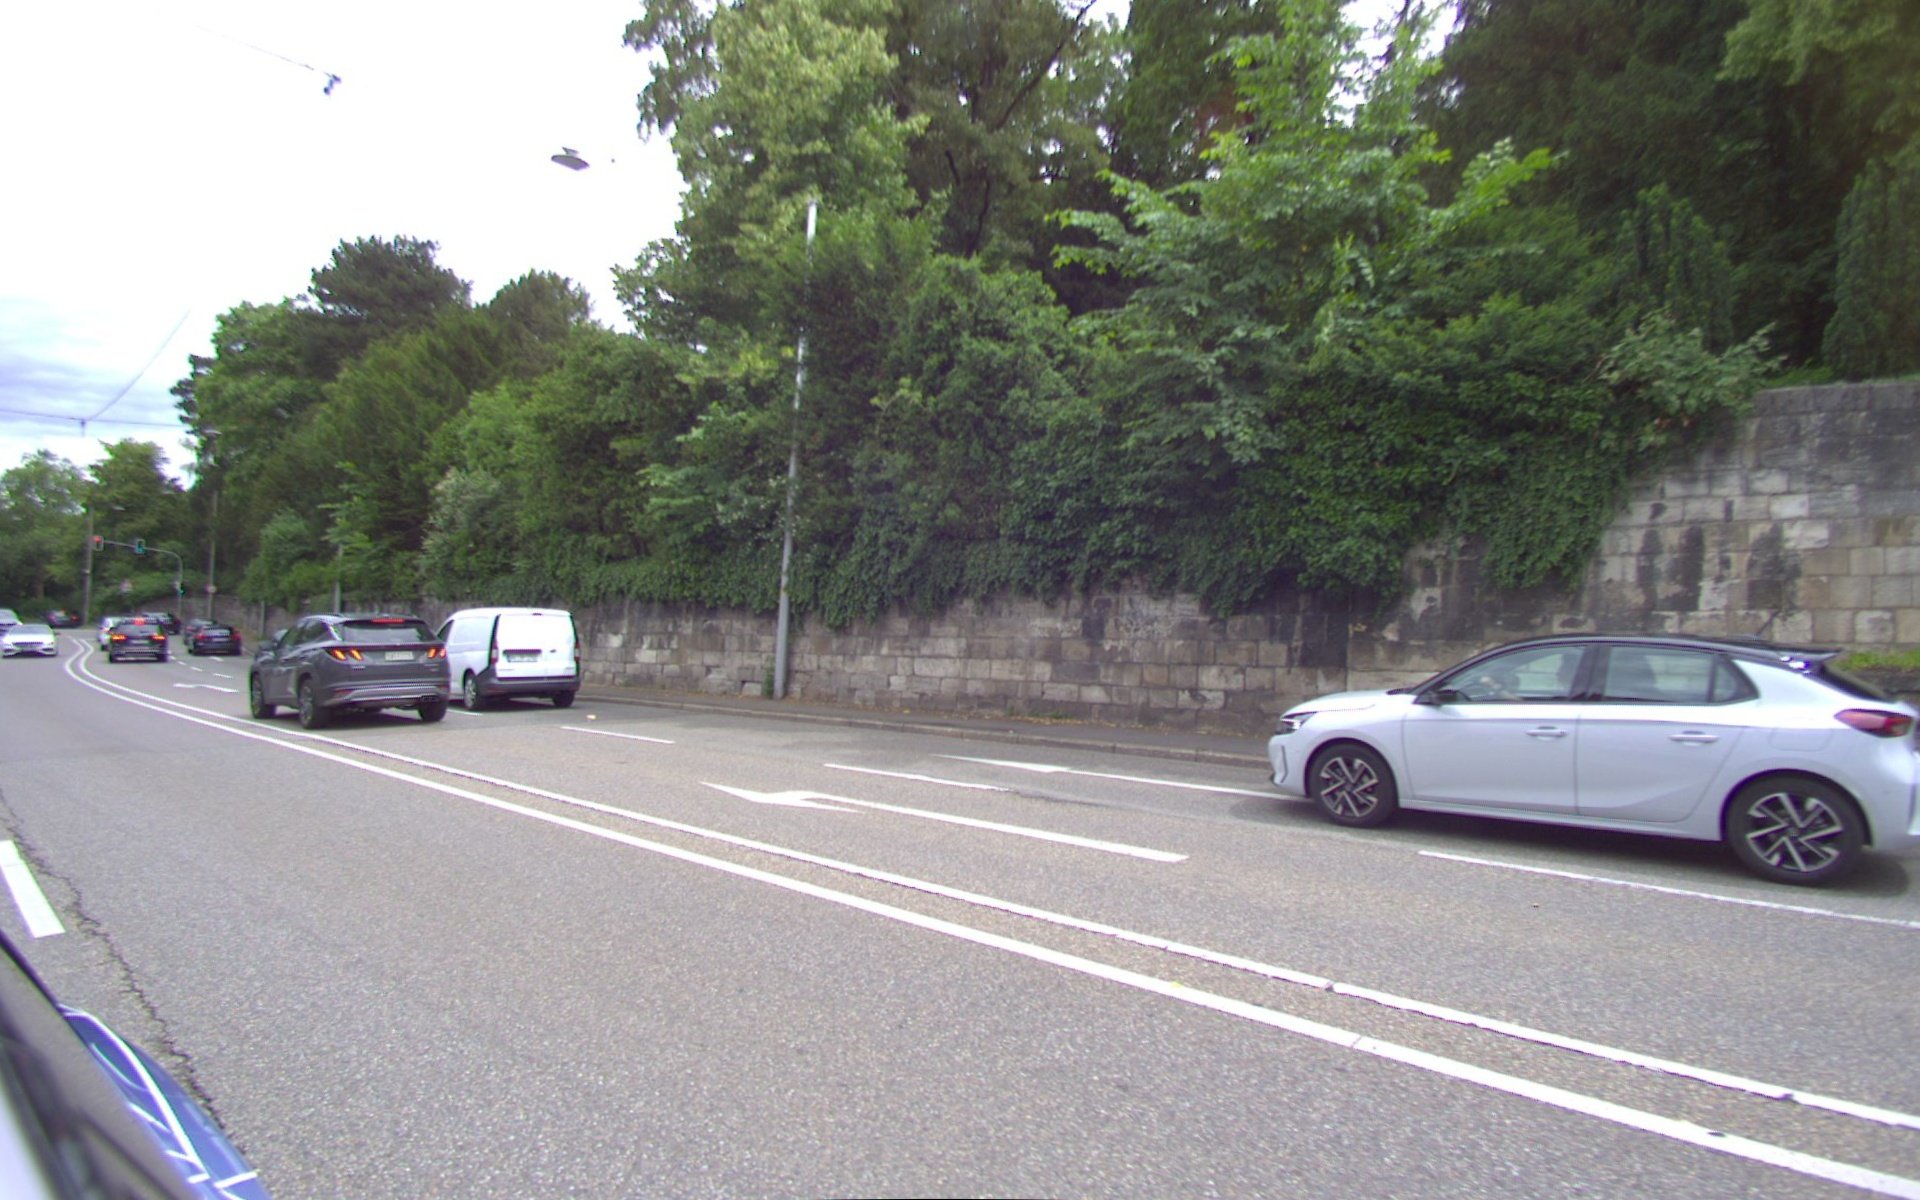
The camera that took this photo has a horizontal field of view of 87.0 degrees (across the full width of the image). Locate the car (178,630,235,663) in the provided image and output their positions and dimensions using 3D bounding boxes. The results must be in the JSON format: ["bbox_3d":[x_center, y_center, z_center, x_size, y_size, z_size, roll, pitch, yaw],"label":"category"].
[{"bbox_3d":[-35.391,2.162,47.495,1.820,1.420,4.463,3,-3,-40],"label":"car"}]

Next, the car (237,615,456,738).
[{"bbox_3d":[-9.623,1.082,15.735,4.361,1.645,1.828,-2,-2,43],"label":"car"}]

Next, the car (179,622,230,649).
[{"bbox_3d":[-43.064,2.010,57.639,1.821,1.447,4.003,2,-2,-44],"label":"car"}]

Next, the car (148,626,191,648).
[{"bbox_3d":[-53.222,2.474,68.075,1.978,1.420,4.761,1,-2,-42],"label":"car"}]

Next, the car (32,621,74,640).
[{"bbox_3d":[-71.223,2.404,79.458,3.998,1.453,1.972,-2,-2,41],"label":"car"}]

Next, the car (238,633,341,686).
[{"bbox_3d":[-19.737,1.717,29.718,4.254,1.413,1.545,-1,-3,43],"label":"car"}]

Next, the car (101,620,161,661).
[{"bbox_3d":[-38.065,1.833,46.433,1.935,1.763,4.885,3,-2,-41],"label":"car"}]

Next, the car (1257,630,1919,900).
[{"bbox_3d":[4.344,0.935,7.102,4.022,1.414,1.697,-2,-3,42],"label":"car"}]

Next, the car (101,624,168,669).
[{"bbox_3d":[-33.094,1.829,40.537,1.825,1.664,4.630,4,-3,-41],"label":"car"}]

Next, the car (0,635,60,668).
[{"bbox_3d":[-40.623,2.222,44.272,1.776,1.401,3.532,2,-3,-40],"label":"car"}]

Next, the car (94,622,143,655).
[{"bbox_3d":[-43.138,1.930,51.830,1.815,1.566,4.795,1,-1,-41],"label":"car"}]

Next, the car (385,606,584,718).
[{"bbox_3d":[-9.037,1.105,19.069,4.397,1.862,1.872,-1,-3,43],"label":"car"}]

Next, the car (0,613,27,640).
[{"bbox_3d":[-62.682,1.722,66.163,3.997,1.753,1.933,-1,-2,40],"label":"car"}]
